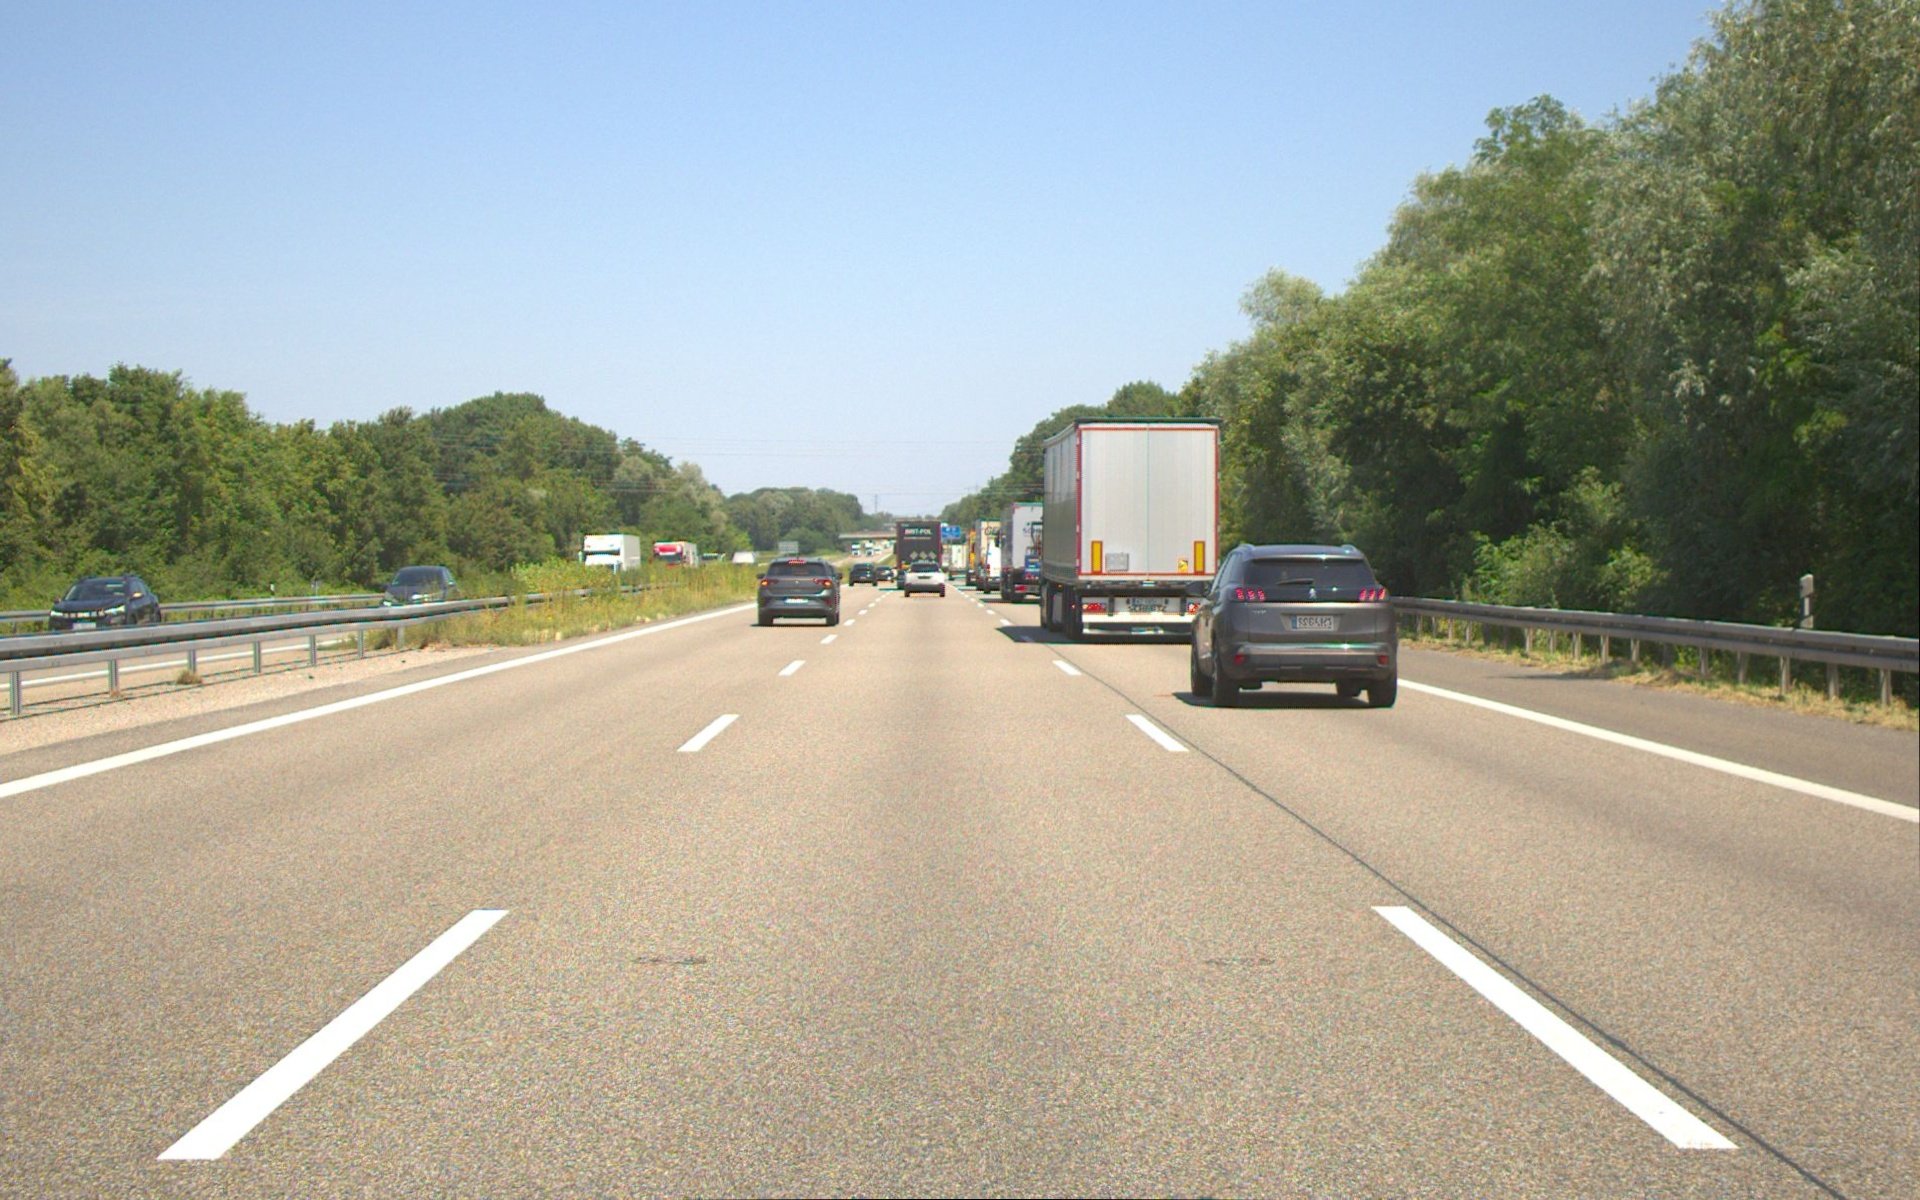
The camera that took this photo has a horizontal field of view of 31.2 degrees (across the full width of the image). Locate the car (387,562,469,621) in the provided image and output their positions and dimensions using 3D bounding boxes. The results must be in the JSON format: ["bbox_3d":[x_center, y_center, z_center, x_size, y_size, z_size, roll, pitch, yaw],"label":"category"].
[{"bbox_3d":[-13.917,-0.241,90.080,1.553,1.457,4.047,-1,1,-1],"label":"car"}]

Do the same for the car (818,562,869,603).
[{"bbox_3d":[-4.683,-0.726,138.484,1.900,1.525,4.084,1,2,0],"label":"car"}]

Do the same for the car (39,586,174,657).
[{"bbox_3d":[-18.753,0.458,75.680,1.862,1.396,4.532,-2,1,-1],"label":"car"}]

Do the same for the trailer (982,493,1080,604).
[{"bbox_3d":[2.546,-1.979,127.129,3.122,3.913,9.938,1,2,-1],"label":"trailer"}]

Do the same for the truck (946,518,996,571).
[{"bbox_3d":[0.841,-4.001,247.954,3.489,3.713,7.108,1,1,1],"label":"truck"}]

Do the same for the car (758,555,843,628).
[{"bbox_3d":[-3.622,-0.222,78.808,1.759,1.525,4.286,1,2,0],"label":"car"}]

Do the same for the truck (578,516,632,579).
[{"bbox_3d":[-23.821,-3.574,230.866,3.071,4.097,6.526,1,1,-1],"label":"truck"}]

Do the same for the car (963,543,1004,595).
[{"bbox_3d":[1.154,-1.549,169.644,1.907,2.417,4.286,1,2,0],"label":"car"}]

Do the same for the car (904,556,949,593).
[{"bbox_3d":[-1.449,-1.134,150.211,1.900,1.525,4.084,1,2,0],"label":"car"}]

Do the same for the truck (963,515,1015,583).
[{"bbox_3d":[1.652,-2.889,193.519,2.792,3.713,7.108,1,1,1],"label":"truck"}]

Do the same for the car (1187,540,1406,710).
[{"bbox_3d":[3.415,0.208,35.597,1.845,1.623,4.135,-1,1,0],"label":"car"}]

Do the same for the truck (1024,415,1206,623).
[{"bbox_3d":[3.208,-1.643,73.044,3.464,4.163,6.844,1,0,0],"label":"truck"}]

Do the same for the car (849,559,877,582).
[{"bbox_3d":[-6.992,-2.114,247.077,1.907,1.525,4.286,1,2,0],"label":"car"}]

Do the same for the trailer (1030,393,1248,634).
[{"bbox_3d":[3.272,-1.597,66.934,3.434,4.167,13.633,1,1,0],"label":"trailer"}]

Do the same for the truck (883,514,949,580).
[{"bbox_3d":[-2.540,-3.115,200.837,3.667,3.713,7.108,1,1,1],"label":"truck"}]
